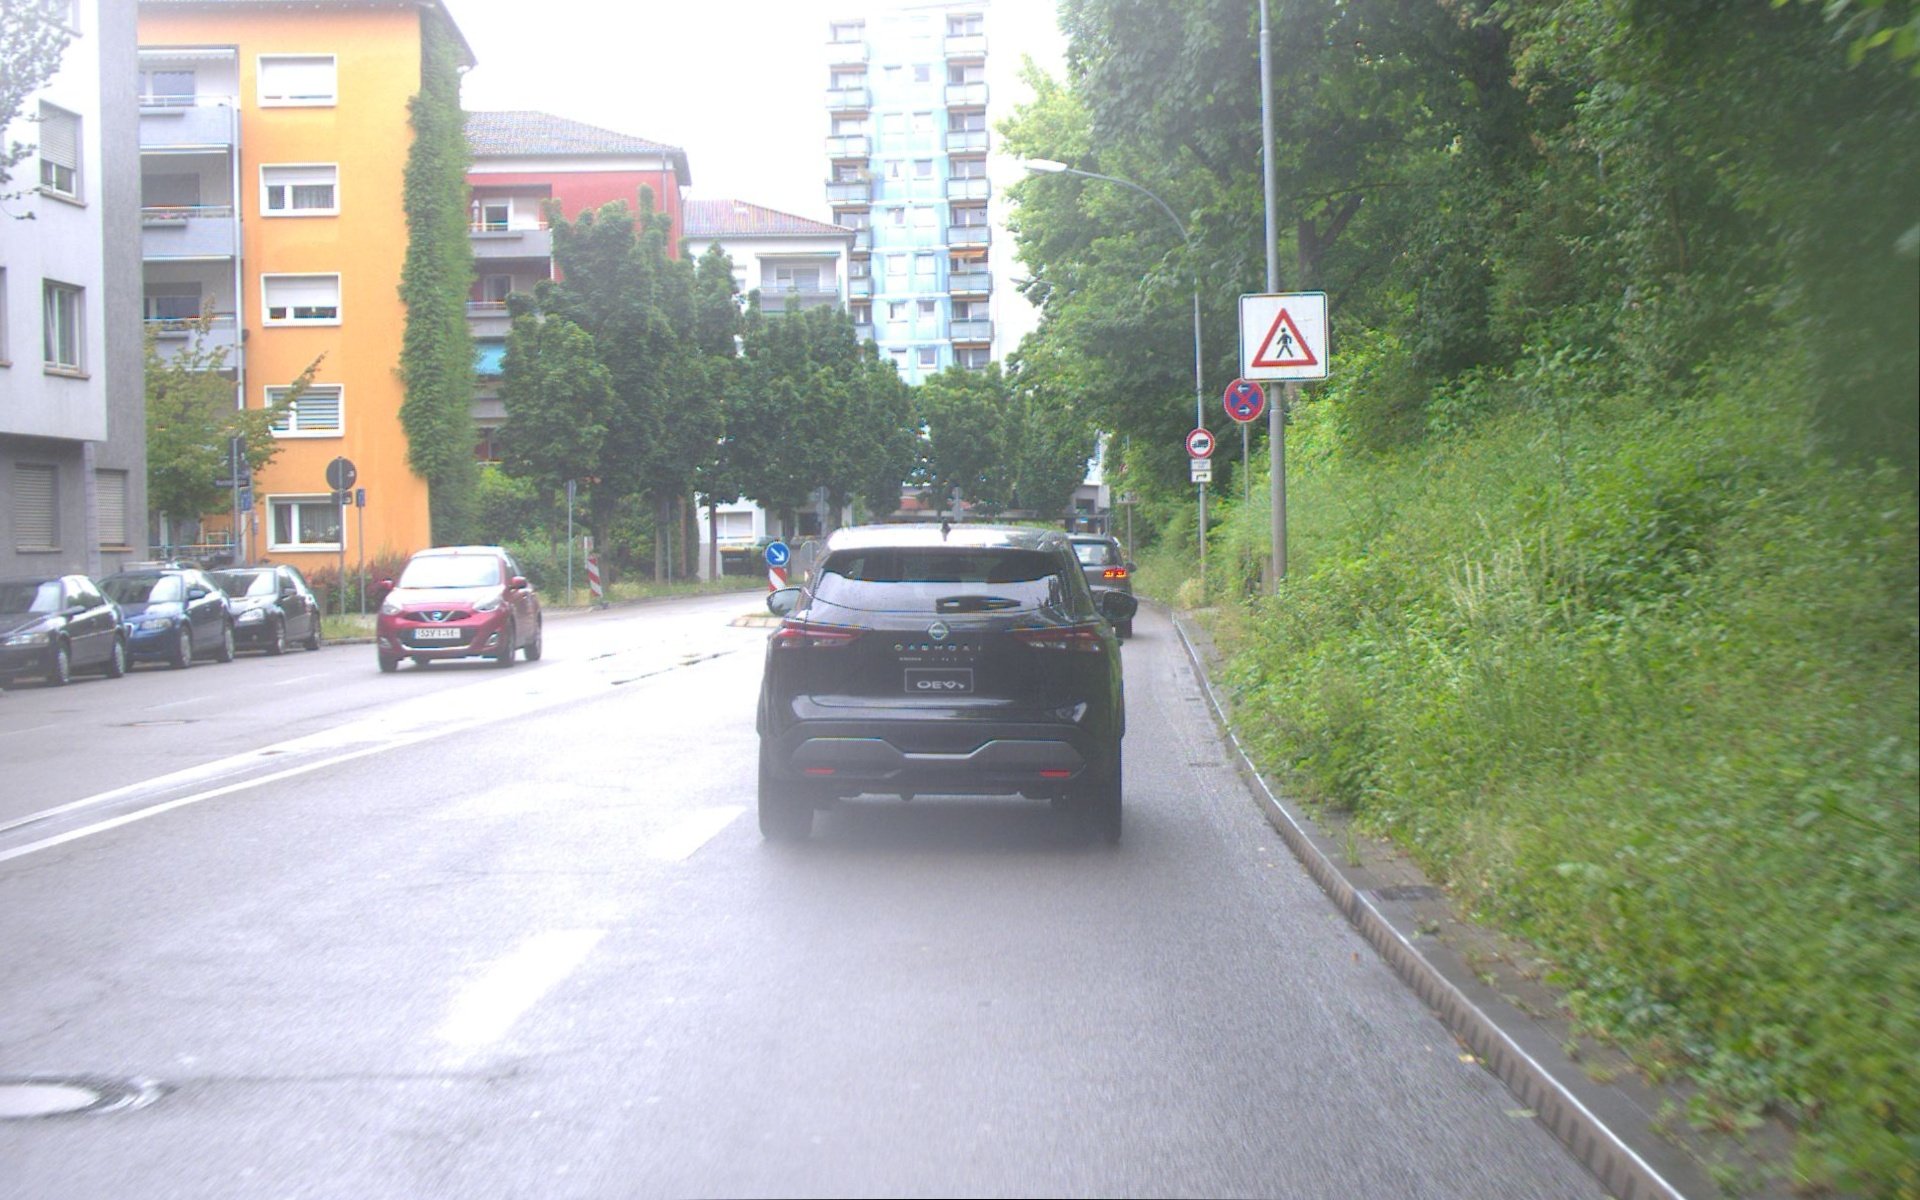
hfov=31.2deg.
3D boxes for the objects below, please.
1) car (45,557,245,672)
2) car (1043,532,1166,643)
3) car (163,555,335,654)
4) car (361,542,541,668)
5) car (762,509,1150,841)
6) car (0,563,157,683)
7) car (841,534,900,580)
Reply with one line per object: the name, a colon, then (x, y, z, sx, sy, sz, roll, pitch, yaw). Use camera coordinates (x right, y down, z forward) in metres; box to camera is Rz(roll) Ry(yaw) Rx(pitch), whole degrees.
car: (-11.655, 0.177, 49.436, 1.680, 1.444, 4.276, -4, 1, 1)
car: (2.288, -0.223, 55.203, 1.887, 1.705, 4.000, -1, 1, 2)
car: (-11.445, 0.042, 55.610, 1.712, 1.420, 4.322, -3, 1, 1)
car: (-6.402, 0.034, 43.540, 1.706, 1.473, 3.680, -2, 1, 0)
car: (0.014, 0.320, 18.372, 1.845, 1.577, 4.000, 0, 1, 1)
car: (-11.696, 0.290, 43.855, 1.688, 1.353, 4.579, -4, 1, 1)
car: (-3.046, -1.489, 117.713, 1.788, 1.499, 4.649, -2, 1, 1)
